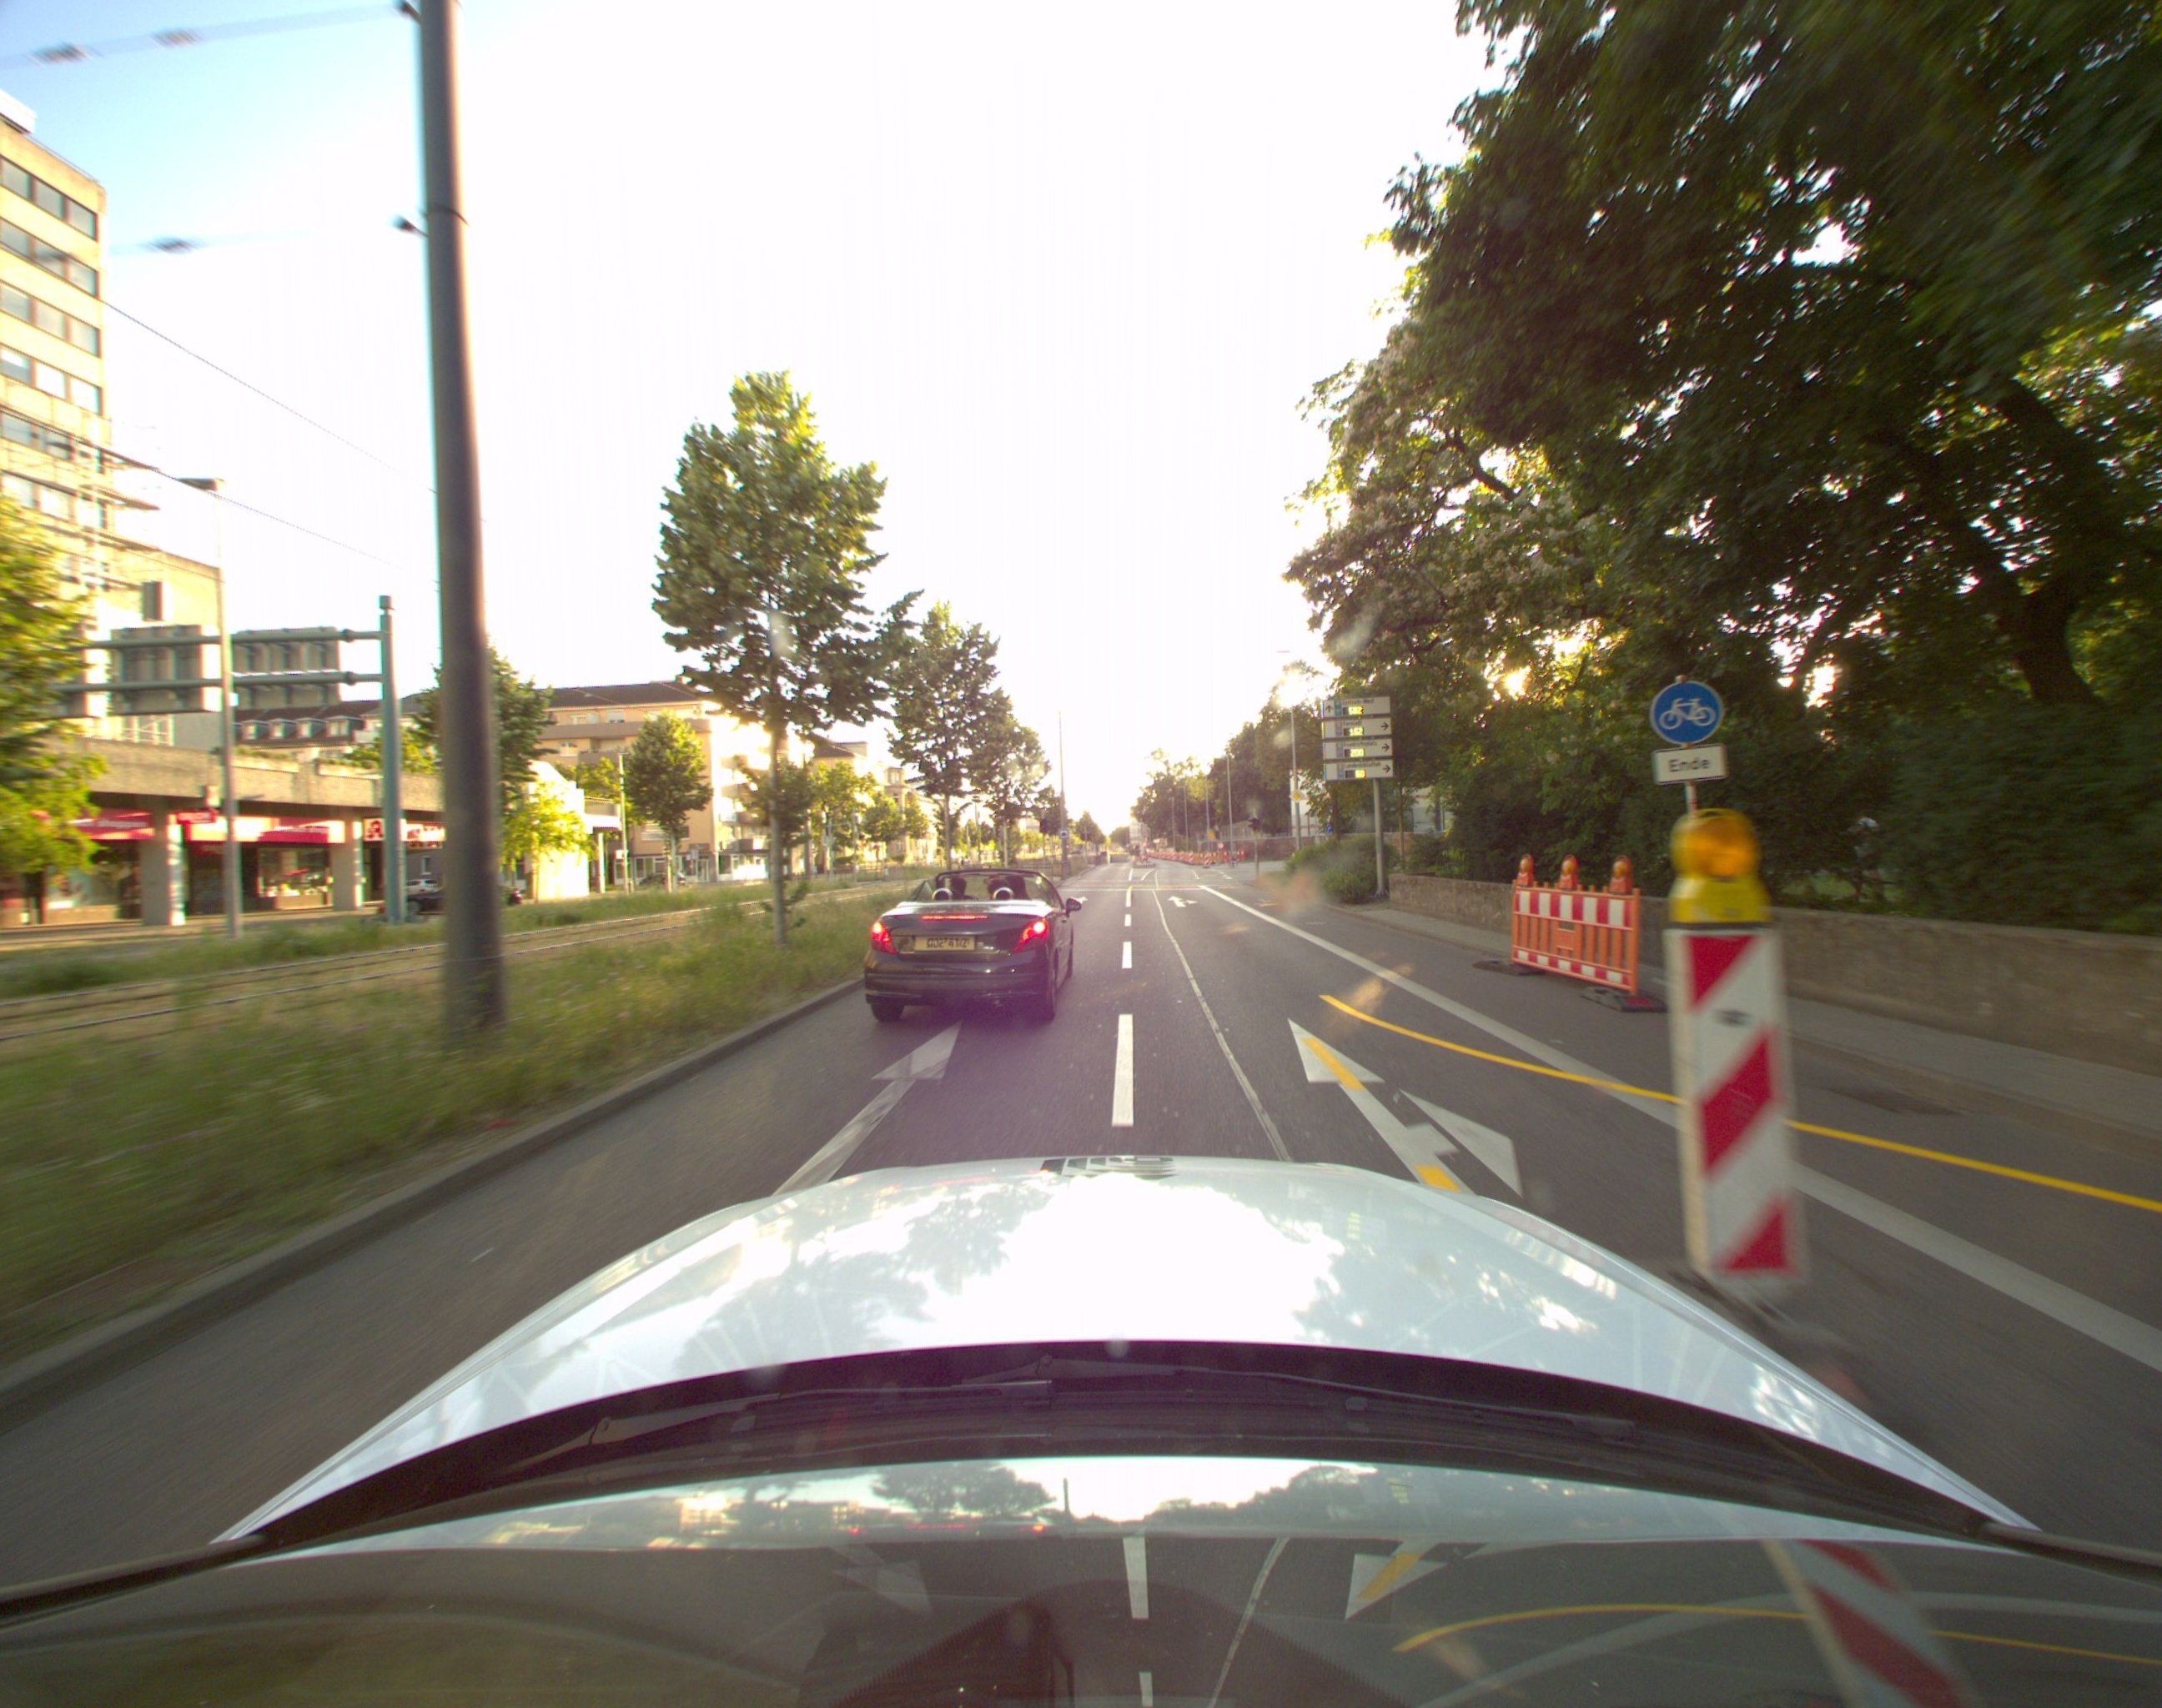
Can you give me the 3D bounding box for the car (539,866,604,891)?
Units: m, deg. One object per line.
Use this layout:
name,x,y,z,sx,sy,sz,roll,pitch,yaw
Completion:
car,-45.600,2.141,72.940,4.313,1.769,2.168,-5,2,1

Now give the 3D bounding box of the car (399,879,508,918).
car,-28.103,1.970,36.552,3.749,1.450,1.724,-2,0,-39

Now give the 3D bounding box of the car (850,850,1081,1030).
car,-0.973,0.716,8.769,1.711,1.449,3.905,-1,1,3

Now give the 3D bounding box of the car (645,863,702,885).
car,-36.763,1.786,73.506,3.918,1.845,2.193,-2,0,2

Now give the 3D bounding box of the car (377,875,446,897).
car,-59.802,2.879,72.785,4.311,1.755,2.117,-2,0,2

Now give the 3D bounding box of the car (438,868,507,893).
car,-54.006,2.381,72.321,4.469,1.990,2.168,-2,0,2
